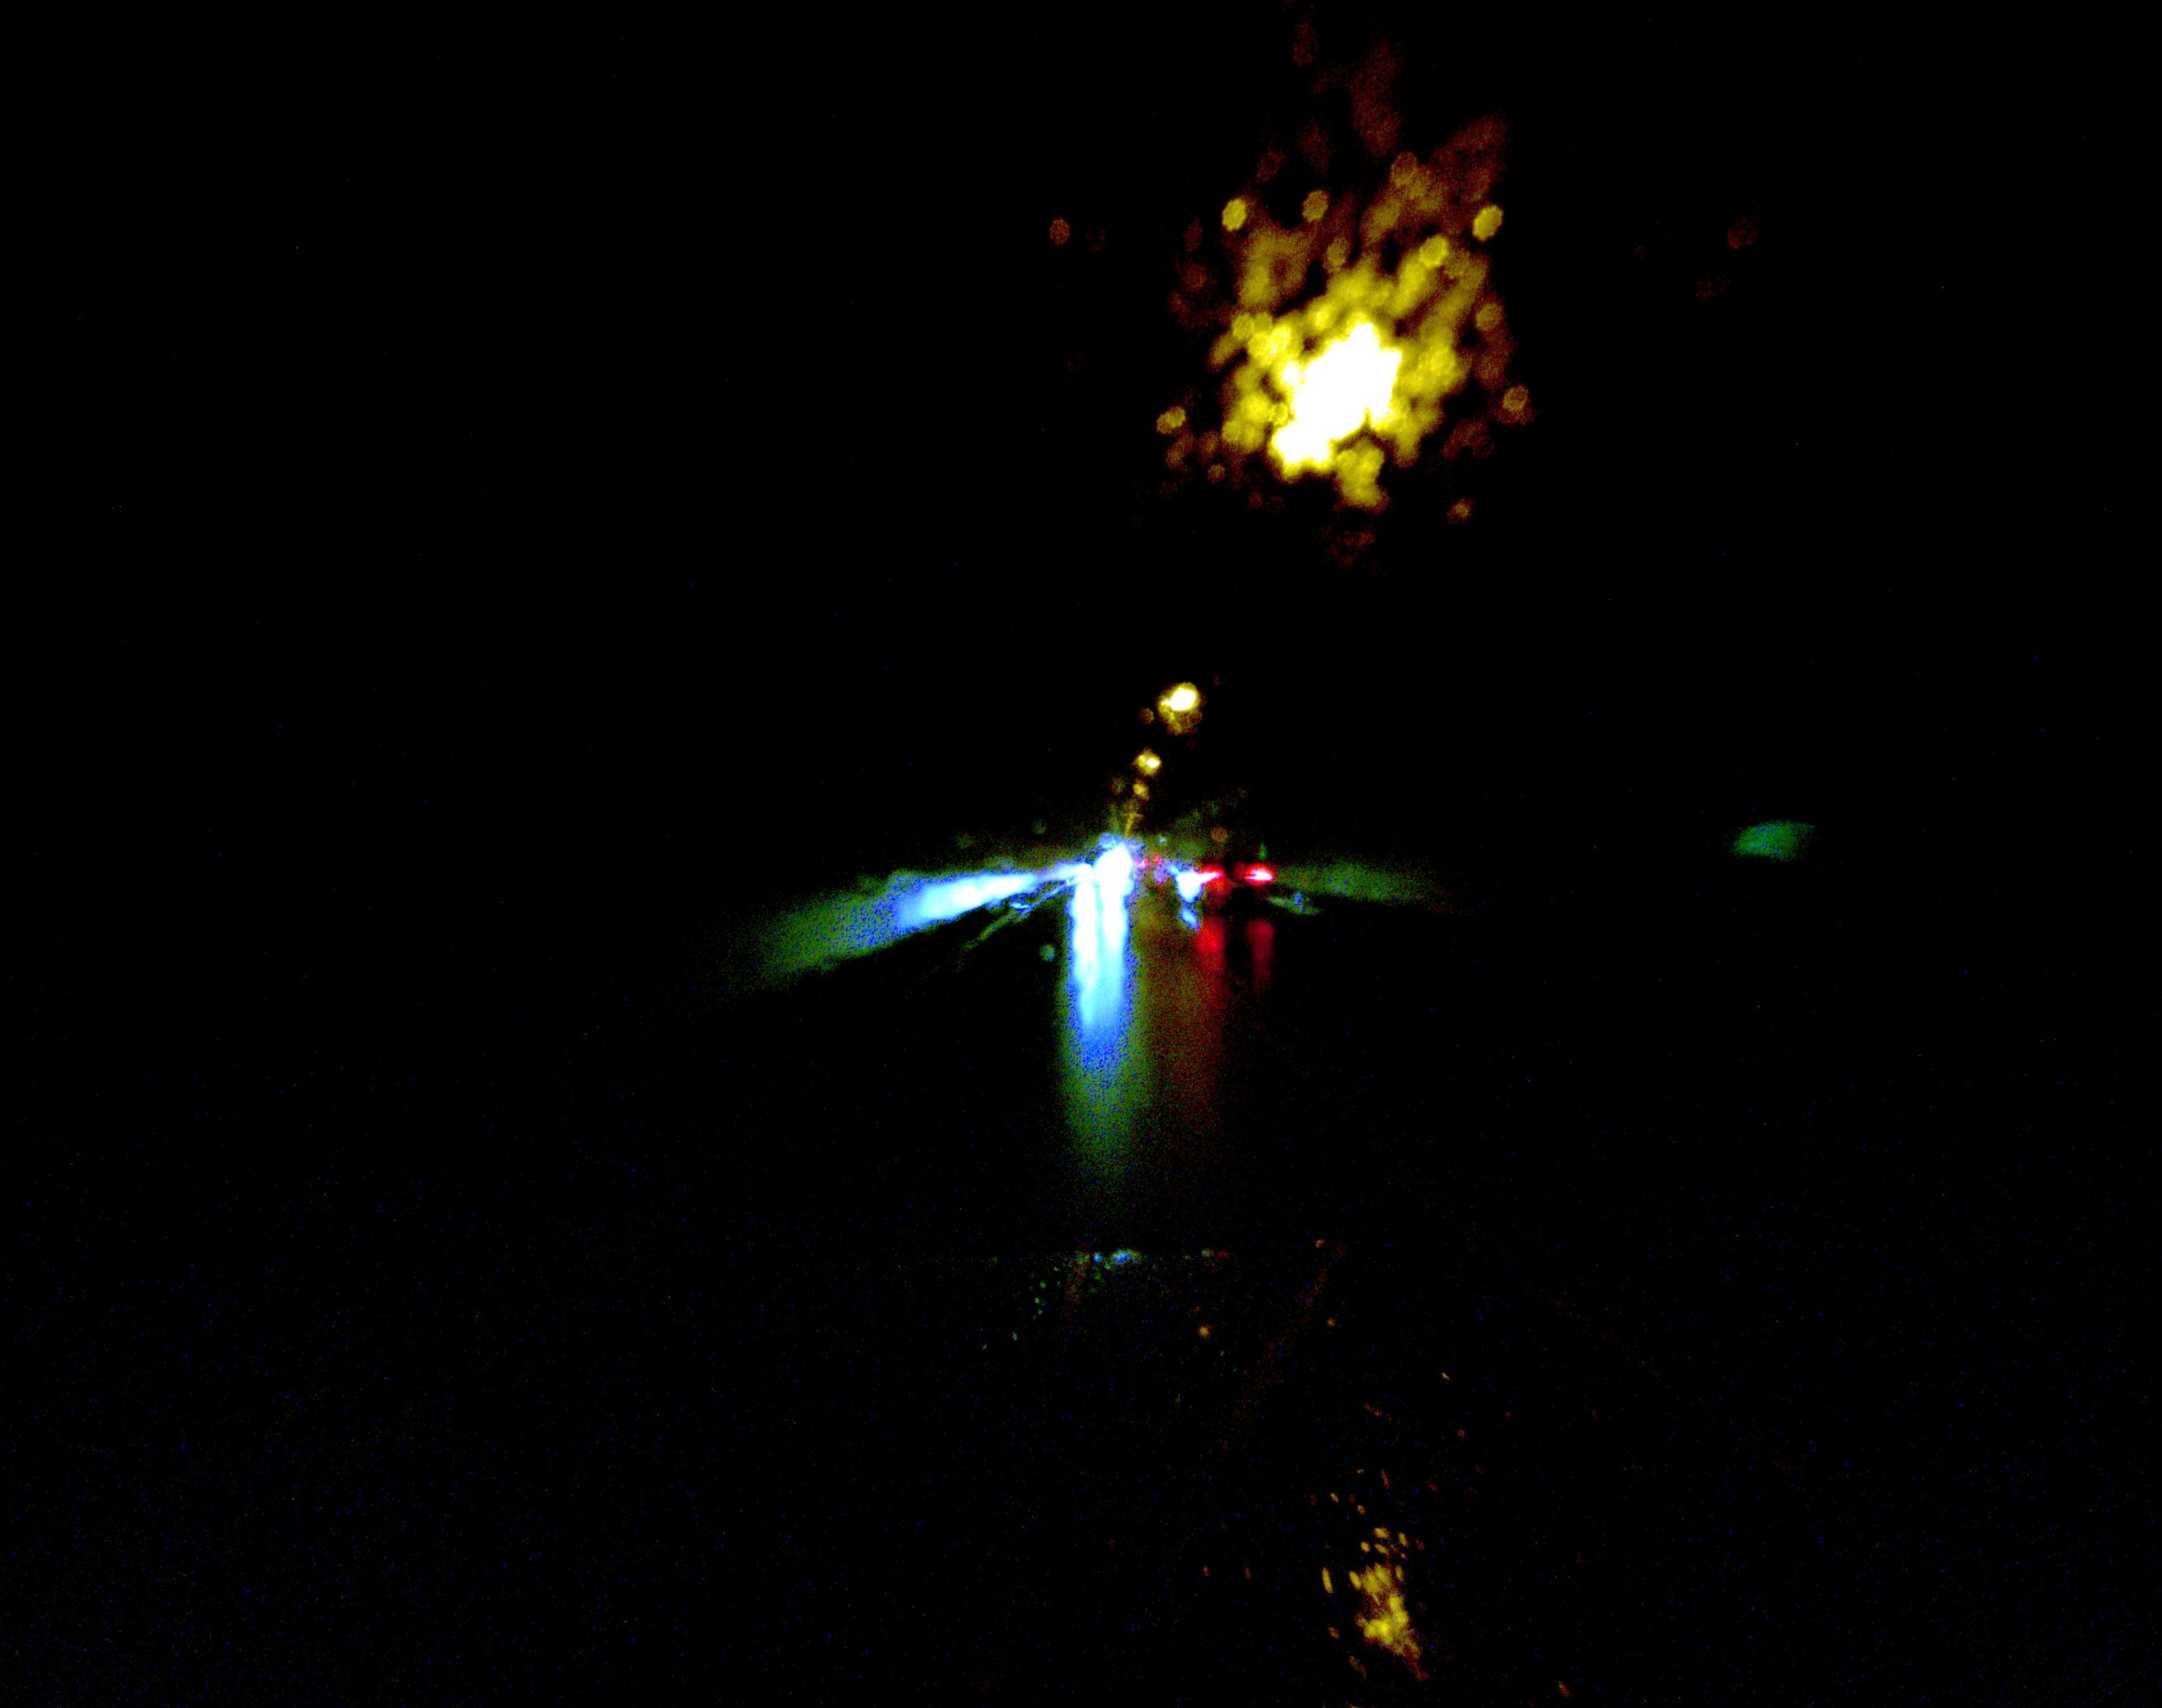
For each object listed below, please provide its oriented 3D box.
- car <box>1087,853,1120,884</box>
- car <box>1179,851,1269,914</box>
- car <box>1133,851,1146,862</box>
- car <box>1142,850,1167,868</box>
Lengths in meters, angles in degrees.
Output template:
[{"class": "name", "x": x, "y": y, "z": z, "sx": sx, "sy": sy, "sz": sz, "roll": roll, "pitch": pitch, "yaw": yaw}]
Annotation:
[{"class": "car", "x": 1.344, "y": 0.800, "z": 43.517, "sx": 1.730, "sy": 1.595, "sz": 4.000, "roll": -3, "pitch": 0, "yaw": 3}, {"class": "car", "x": 3.815, "y": 0.716, "z": 20.877, "sx": 1.660, "sy": 1.484, "sz": 3.838, "roll": -3, "pitch": 0, "yaw": 0}, {"class": "car", "x": 8.163, "y": 0.354, "z": 106.195, "sx": 1.664, "sy": 1.481, "sz": 3.963, "roll": -2, "pitch": 0, "yaw": 1}, {"class": "car", "x": 6.493, "y": 0.465, "z": 67.202, "sx": 1.817, "sy": 1.473, "sz": 4.201, "roll": -3, "pitch": 0, "yaw": 1}]
